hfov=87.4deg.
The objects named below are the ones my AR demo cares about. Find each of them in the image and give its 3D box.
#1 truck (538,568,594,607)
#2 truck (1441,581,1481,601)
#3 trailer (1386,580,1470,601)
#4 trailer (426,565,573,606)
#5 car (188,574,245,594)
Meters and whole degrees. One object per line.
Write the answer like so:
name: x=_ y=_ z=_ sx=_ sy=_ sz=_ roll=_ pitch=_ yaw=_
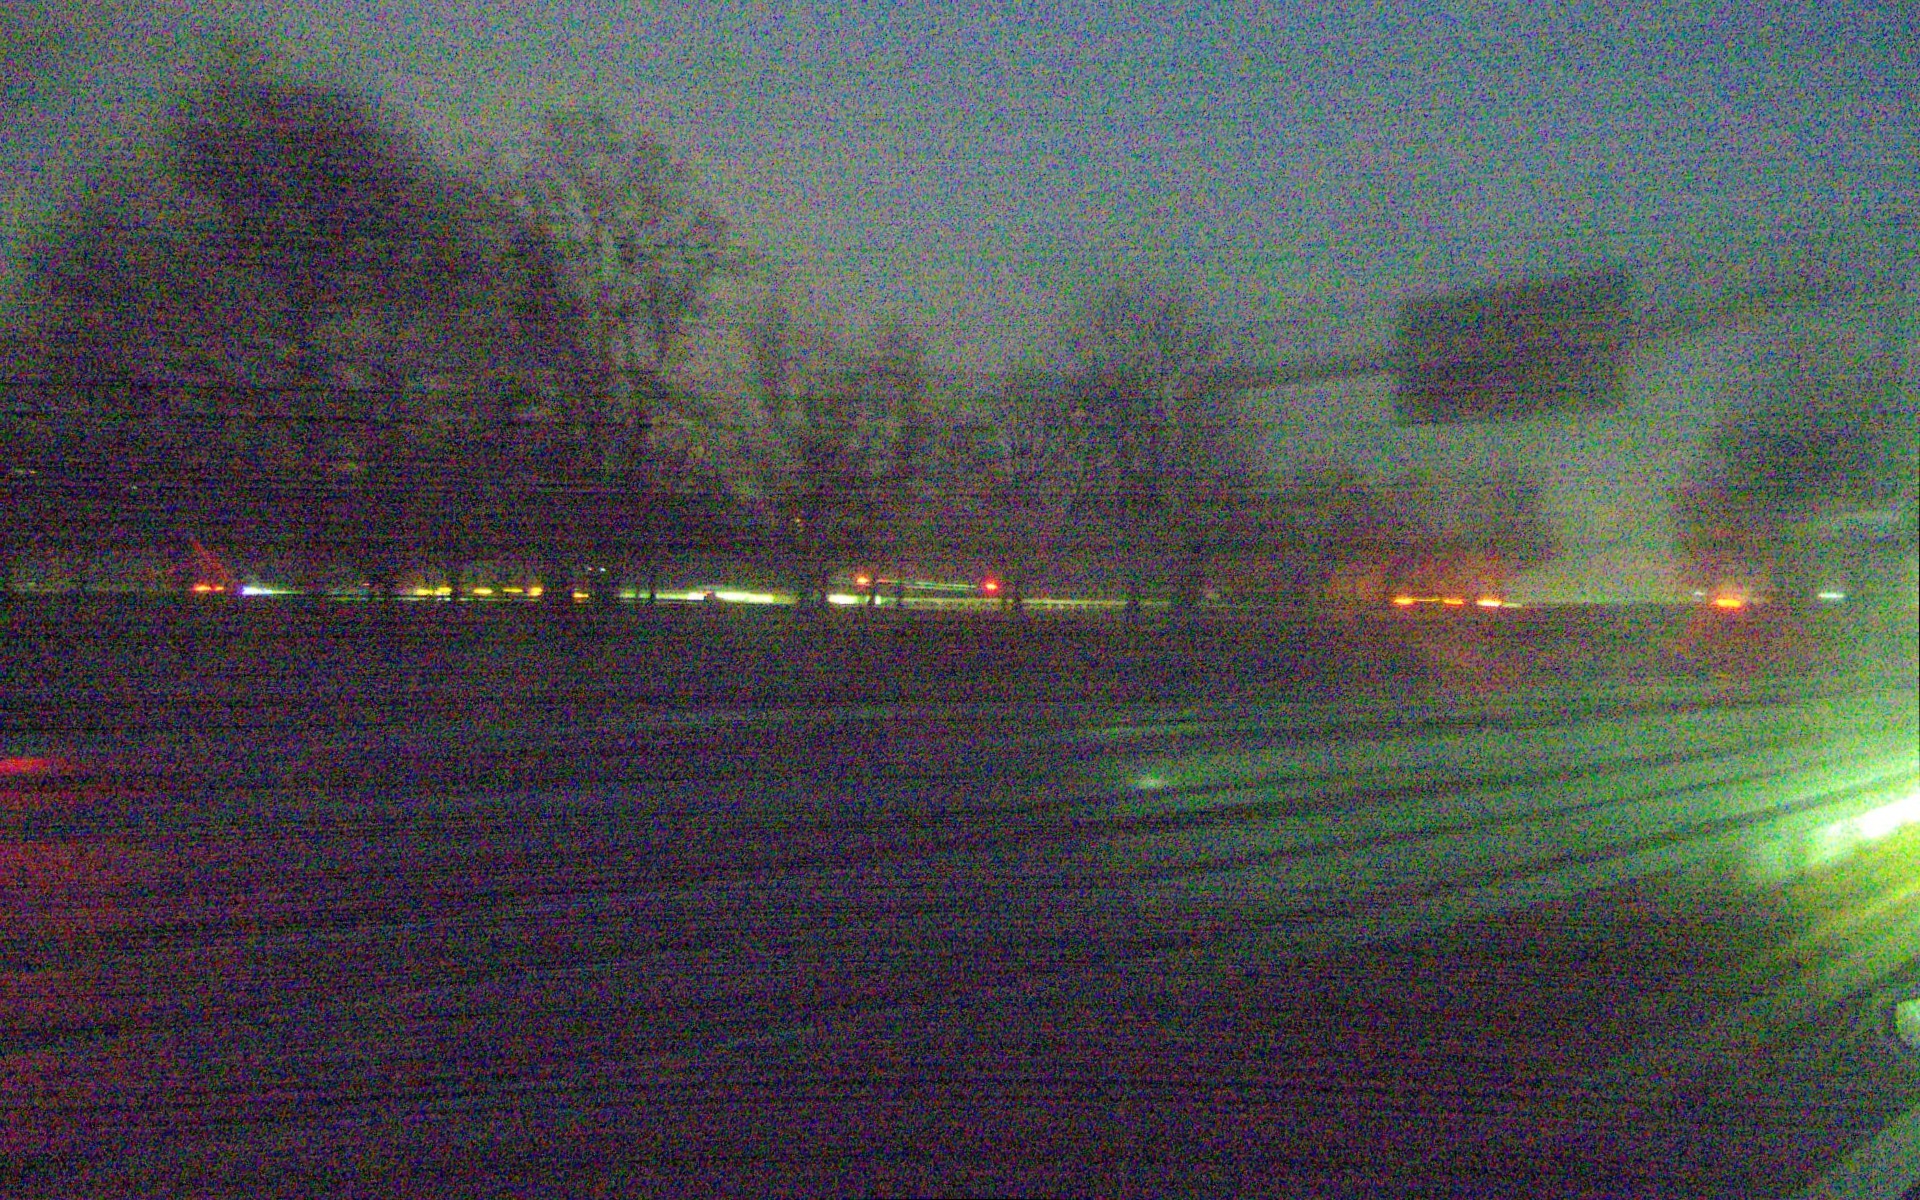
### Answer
truck: x=-41.208 y=-1.319 z=105.284 sx=5.377 sy=3.761 sz=2.583 roll=1 pitch=3 yaw=-21
truck: x=73.201 y=-1.260 z=146.793 sx=4.683 sy=2.727 sz=2.673 roll=1 pitch=2 yaw=-19
trailer: x=67.512 y=-1.370 z=144.776 sx=12.658 sy=2.736 sz=2.684 roll=1 pitch=2 yaw=-19
trailer: x=-47.024 y=-1.457 z=103.059 sx=13.447 sy=3.775 sz=2.587 roll=1 pitch=3 yaw=-21
car: x=-67.726 y=-1.473 z=91.572 sx=3.952 sy=1.640 sz=1.984 roll=1 pitch=3 yaw=-30
